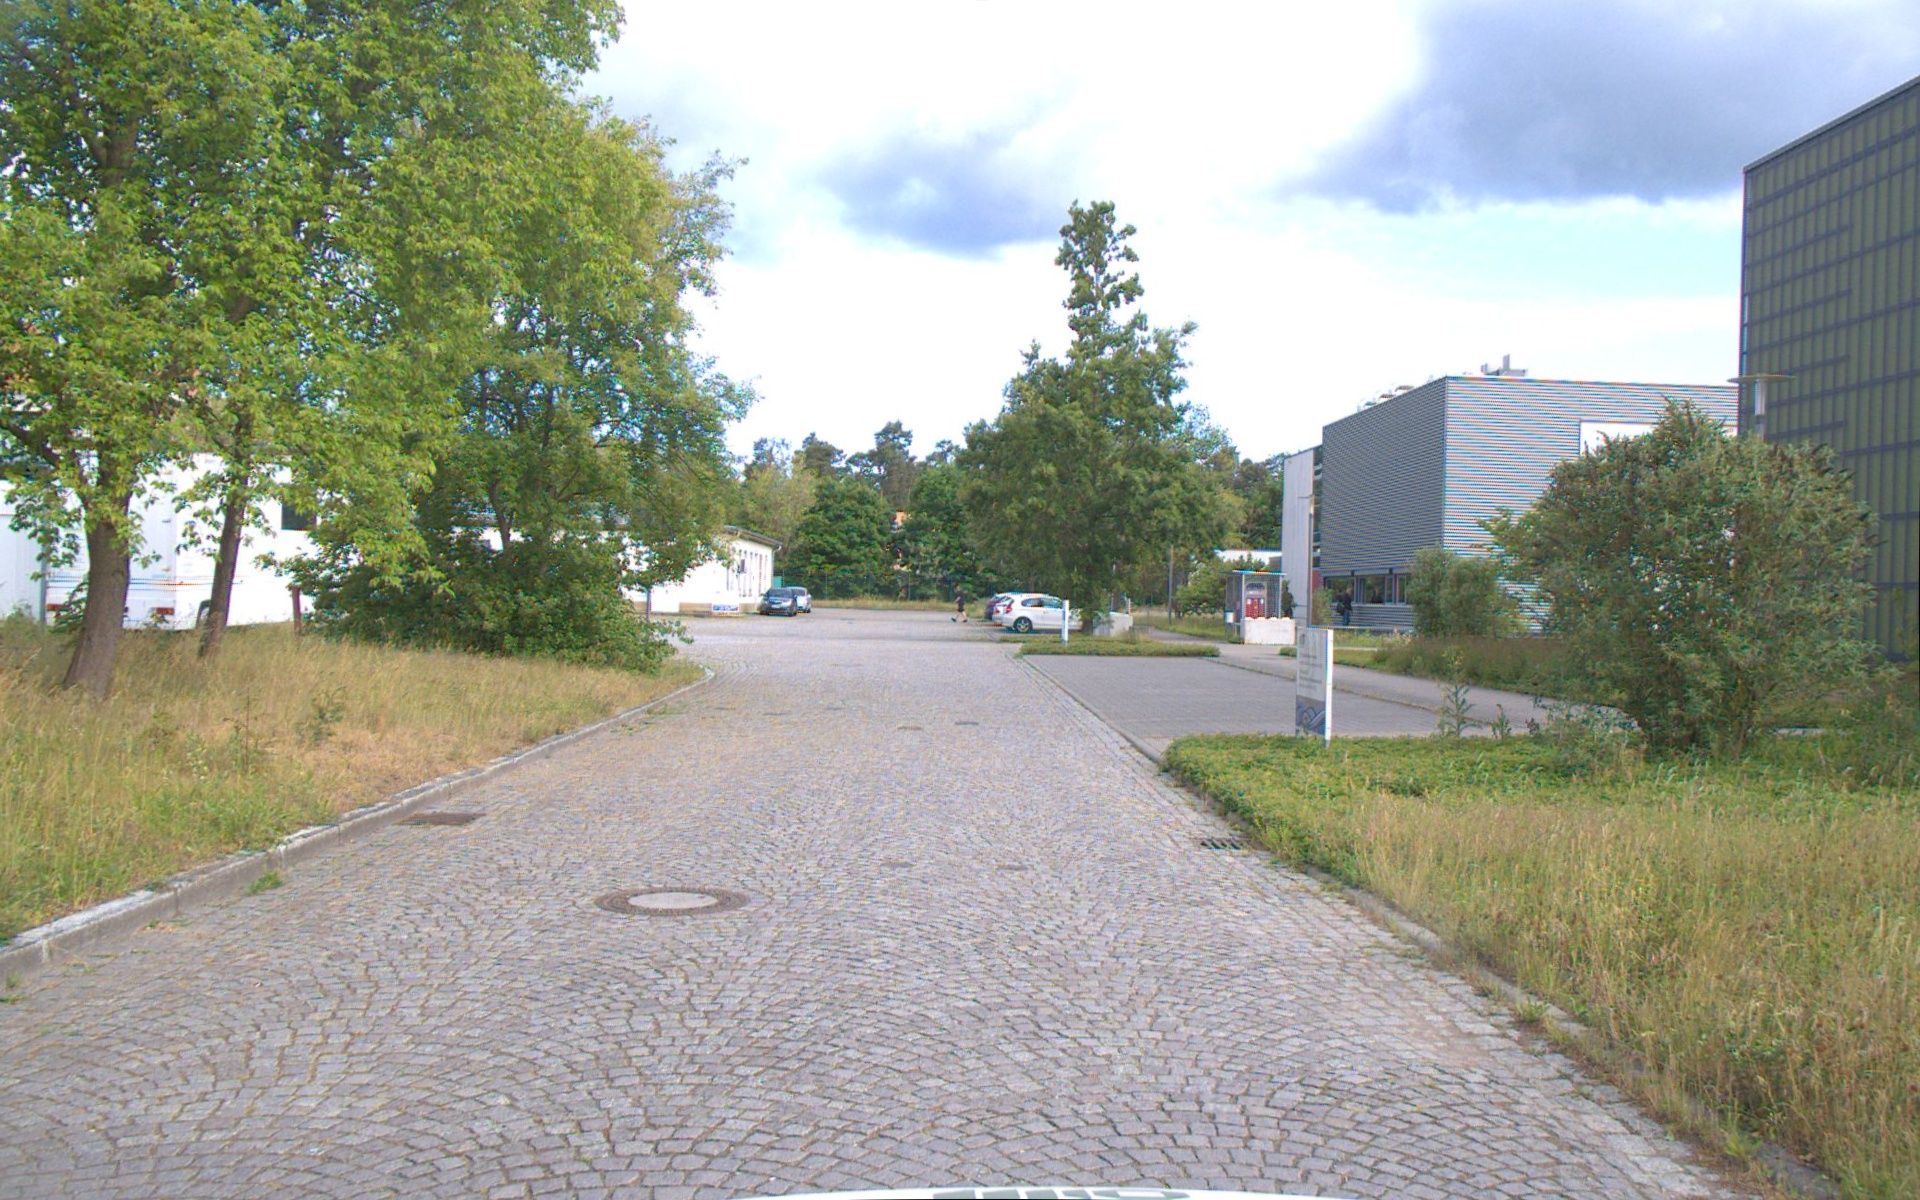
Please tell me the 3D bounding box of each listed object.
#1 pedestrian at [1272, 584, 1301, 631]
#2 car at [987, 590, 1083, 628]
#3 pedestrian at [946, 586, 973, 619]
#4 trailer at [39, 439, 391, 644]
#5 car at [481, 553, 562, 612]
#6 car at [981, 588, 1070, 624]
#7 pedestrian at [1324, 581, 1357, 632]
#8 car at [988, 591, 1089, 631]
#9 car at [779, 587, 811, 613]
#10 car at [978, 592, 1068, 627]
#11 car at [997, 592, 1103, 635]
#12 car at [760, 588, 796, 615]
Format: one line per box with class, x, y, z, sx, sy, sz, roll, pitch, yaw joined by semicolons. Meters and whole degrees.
pedestrian;14.367;0.316;72.771;0.903;2.049;1.145;1;0;-7
car;3.102;0.382;69.069;3.906;1.481;1.769;1;0;-1
pedestrian;-0.006;0.117;81.697;0.933;1.595;0.958;1;0;-38
trailer;-15.699;-1.105;36.111;2.602;3.770;10.722;1;0;1
car;-19.981;-0.781;75.592;1.952;2.567;5.619;1;0;2
car;3.051;0.281;77.187;3.909;1.560;1.998;1;0;-5
pedestrian;14.842;0.254;64.555;0.908;1.970;0.846;2;0;-32
car;3.118;0.442;66.028;3.906;1.481;1.697;1;0;-1
car;-9.741;0.001;97.705;1.714;1.480;3.997;1;0;-4
car;2.807;0.413;73.965;3.906;1.481;1.769;1;0;-1
car;3.458;0.523;63.868;3.906;1.481;1.999;2;-1;-1
car;-9.610;0.067;87.476;1.714;1.387;3.997;1;0;-4
